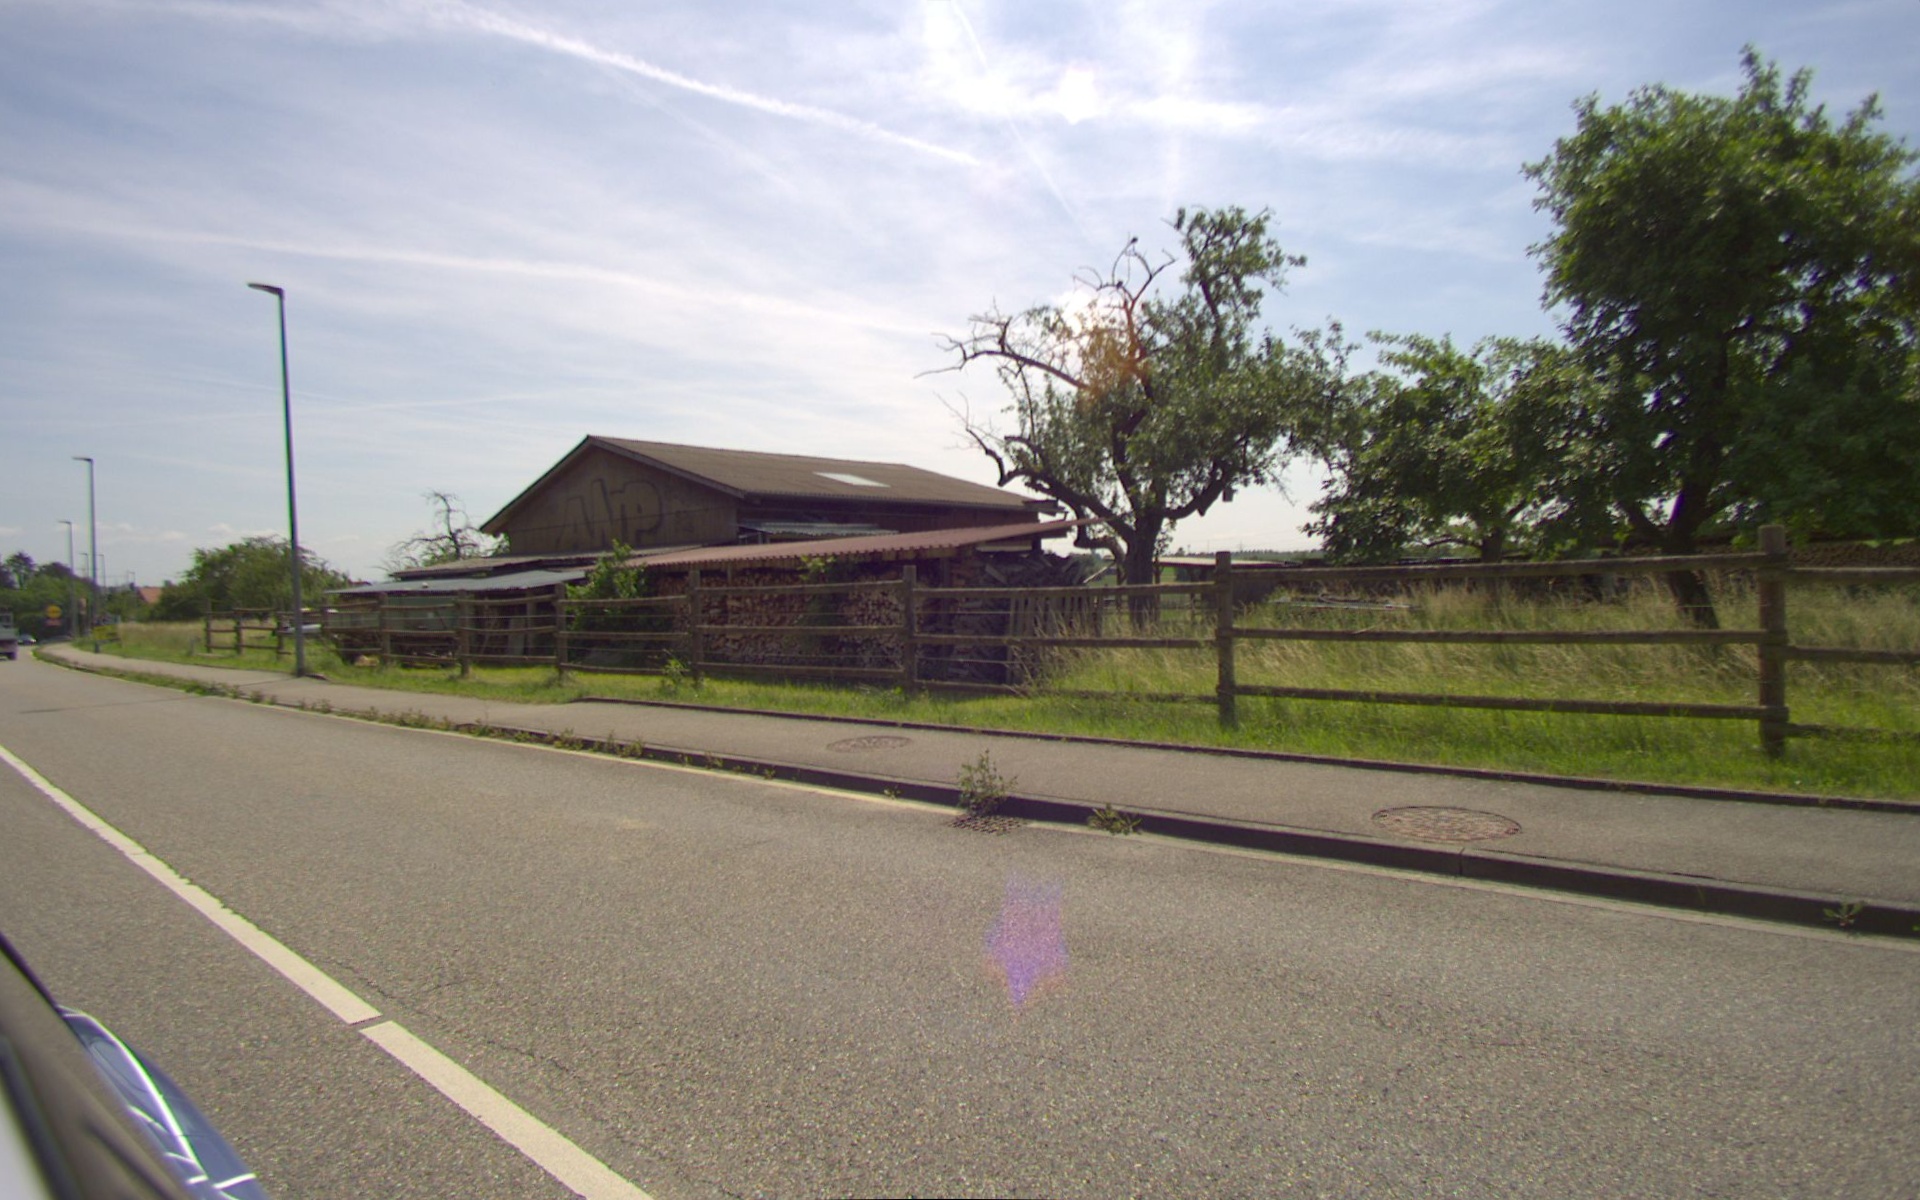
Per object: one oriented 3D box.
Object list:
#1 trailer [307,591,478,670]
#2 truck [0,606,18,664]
[{"bbox_3d":[-13.944,0.713,24.744,5.027,1.716,2.132,-1,0,42],"label":"trailer"},{"bbox_3d":[-41.465,1.474,42.842,2.196,2.310,6.497,-1,0,-44],"label":"truck"}]
